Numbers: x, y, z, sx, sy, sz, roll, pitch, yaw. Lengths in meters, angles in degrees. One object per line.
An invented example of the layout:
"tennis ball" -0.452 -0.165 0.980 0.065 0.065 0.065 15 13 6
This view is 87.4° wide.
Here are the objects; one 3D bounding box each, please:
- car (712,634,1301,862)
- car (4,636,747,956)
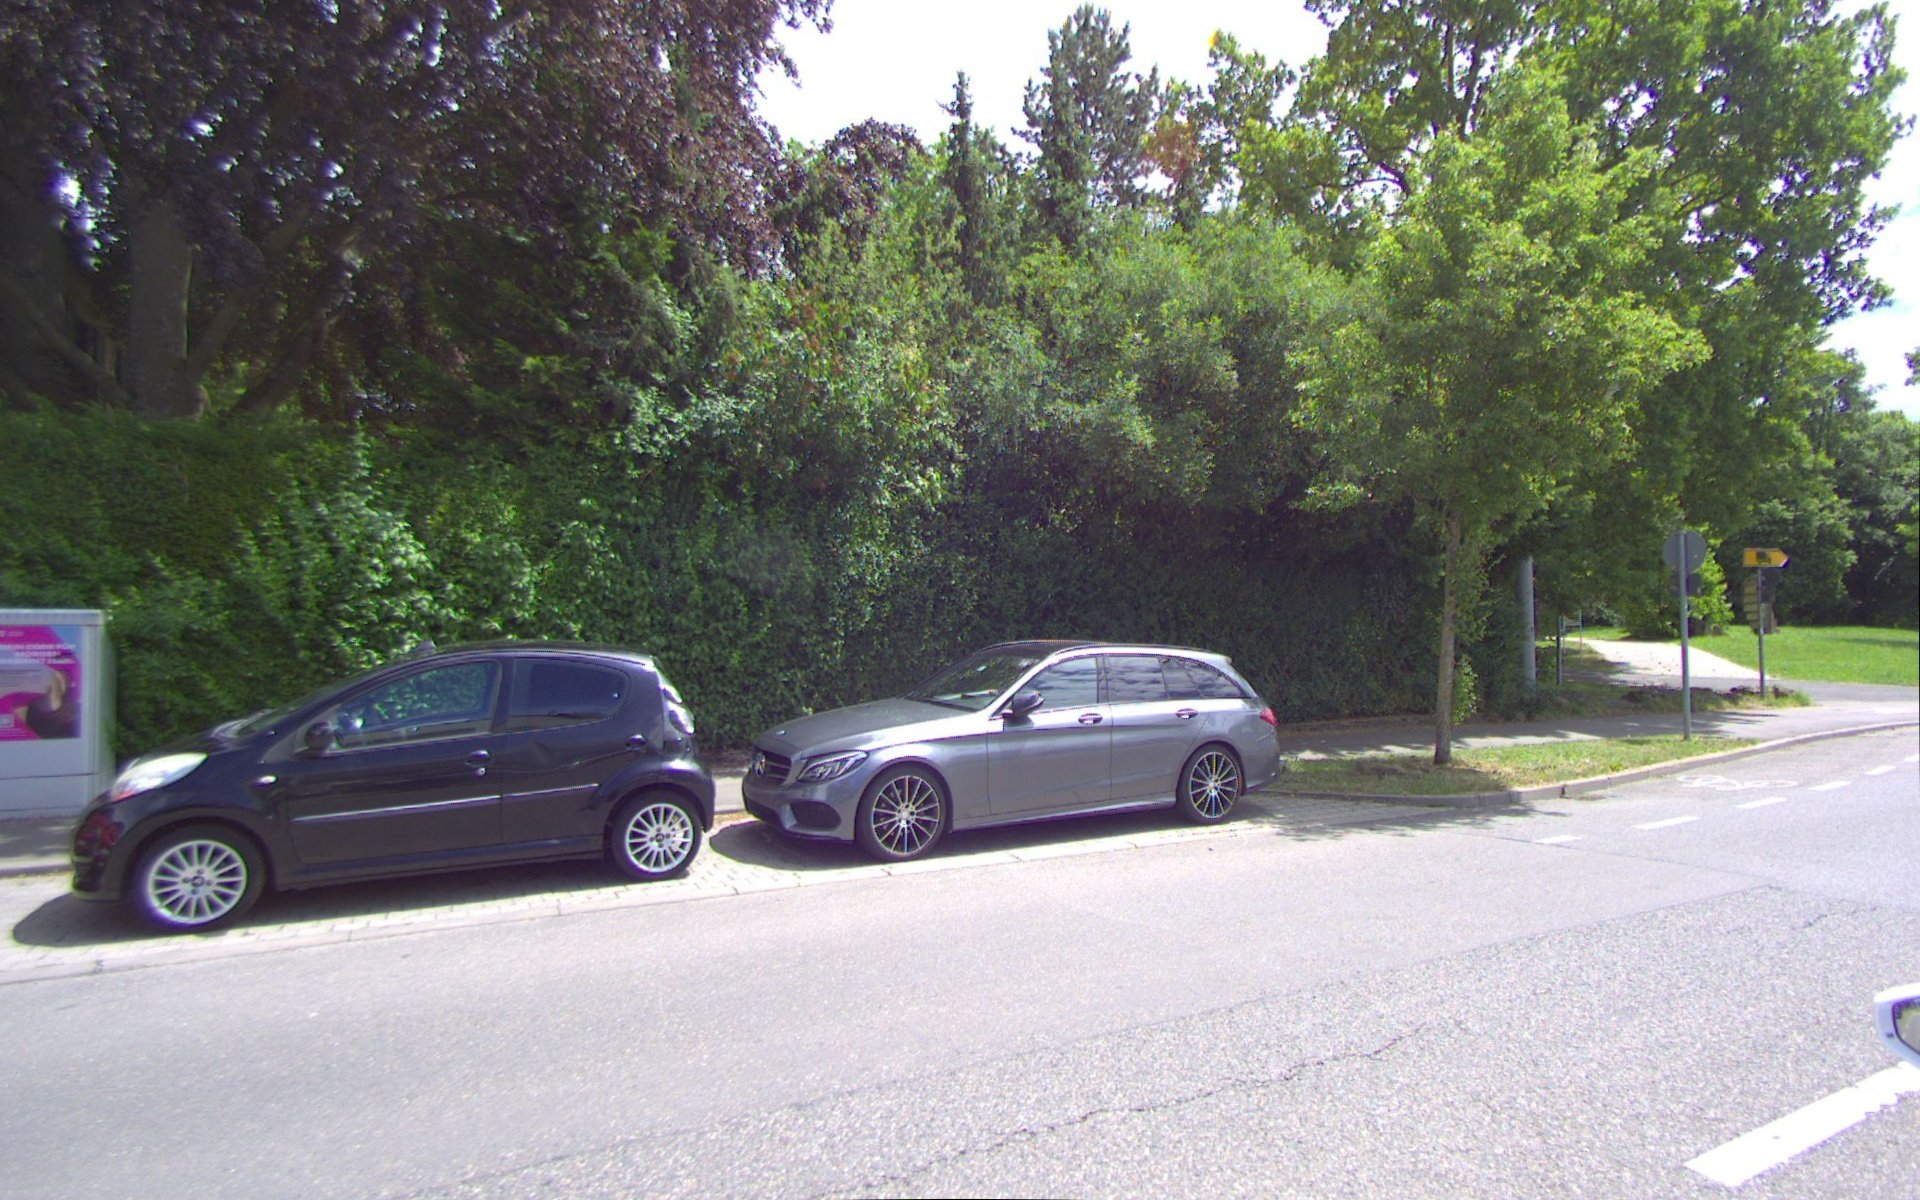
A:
"car" 0.503 1.006 8.201 4.630 1.383 1.687 2 -1 -30
"car" -3.299 0.980 6.291 3.551 1.470 1.589 1 -1 -28
